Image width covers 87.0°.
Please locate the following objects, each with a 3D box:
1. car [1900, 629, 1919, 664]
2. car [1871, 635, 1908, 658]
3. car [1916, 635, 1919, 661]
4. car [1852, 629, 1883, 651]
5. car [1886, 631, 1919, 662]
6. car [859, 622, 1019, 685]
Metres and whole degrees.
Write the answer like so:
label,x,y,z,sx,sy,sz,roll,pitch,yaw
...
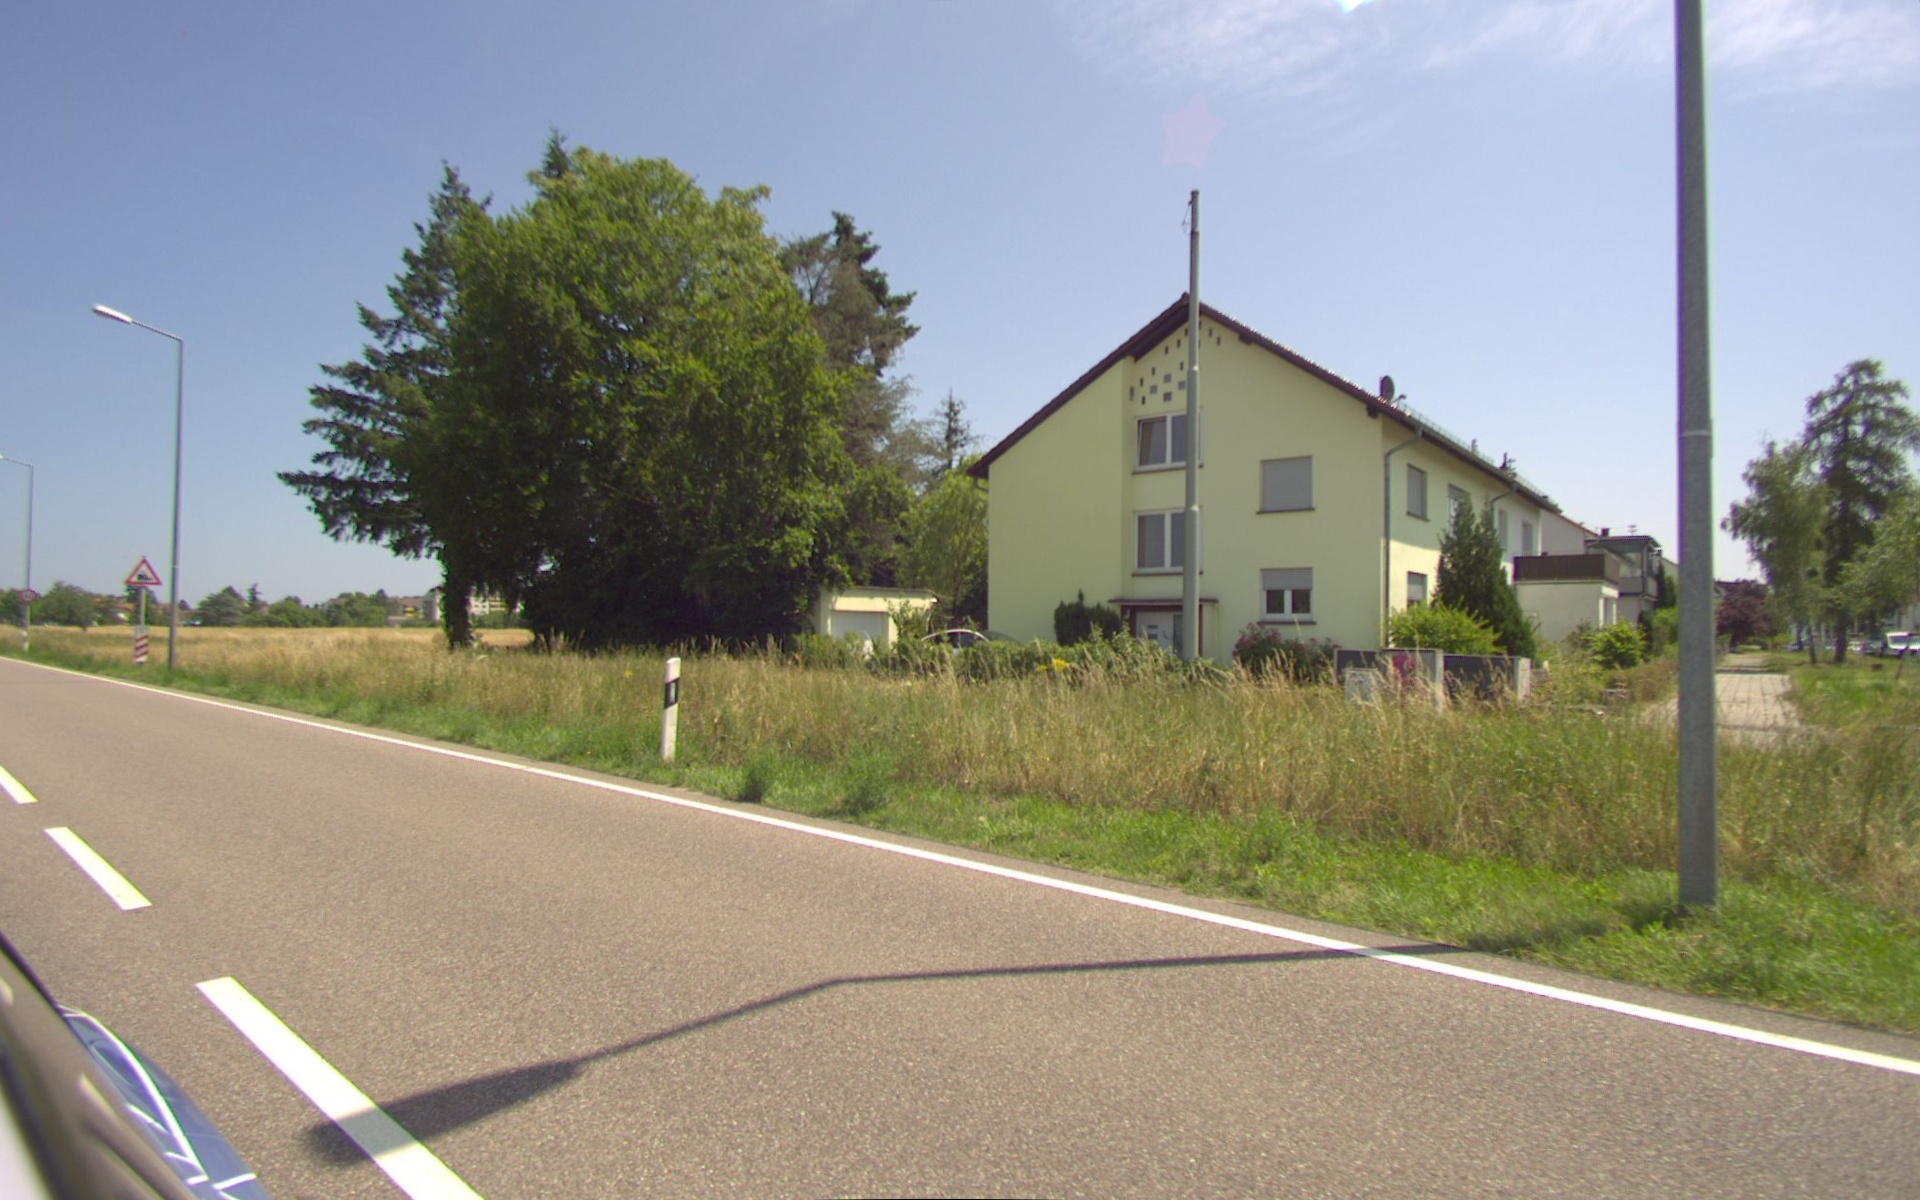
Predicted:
label,x,y,z,sx,sy,sz,roll,pitch,yaw
car,58.626,2.814,61.444,1.867,1.985,4.430,-1,-1,38
car,76.279,3.813,83.097,1.867,1.712,4.430,-1,-1,38
car,53.385,2.657,54.843,1.867,1.455,4.430,-1,-1,38
car,85.646,3.758,95.537,1.867,1.985,4.430,-1,-1,38
car,64.842,3.154,69.176,1.867,1.985,4.430,-1,-1,38
car,-0.606,1.347,26.571,4.185,1.503,1.688,-1,-1,42
